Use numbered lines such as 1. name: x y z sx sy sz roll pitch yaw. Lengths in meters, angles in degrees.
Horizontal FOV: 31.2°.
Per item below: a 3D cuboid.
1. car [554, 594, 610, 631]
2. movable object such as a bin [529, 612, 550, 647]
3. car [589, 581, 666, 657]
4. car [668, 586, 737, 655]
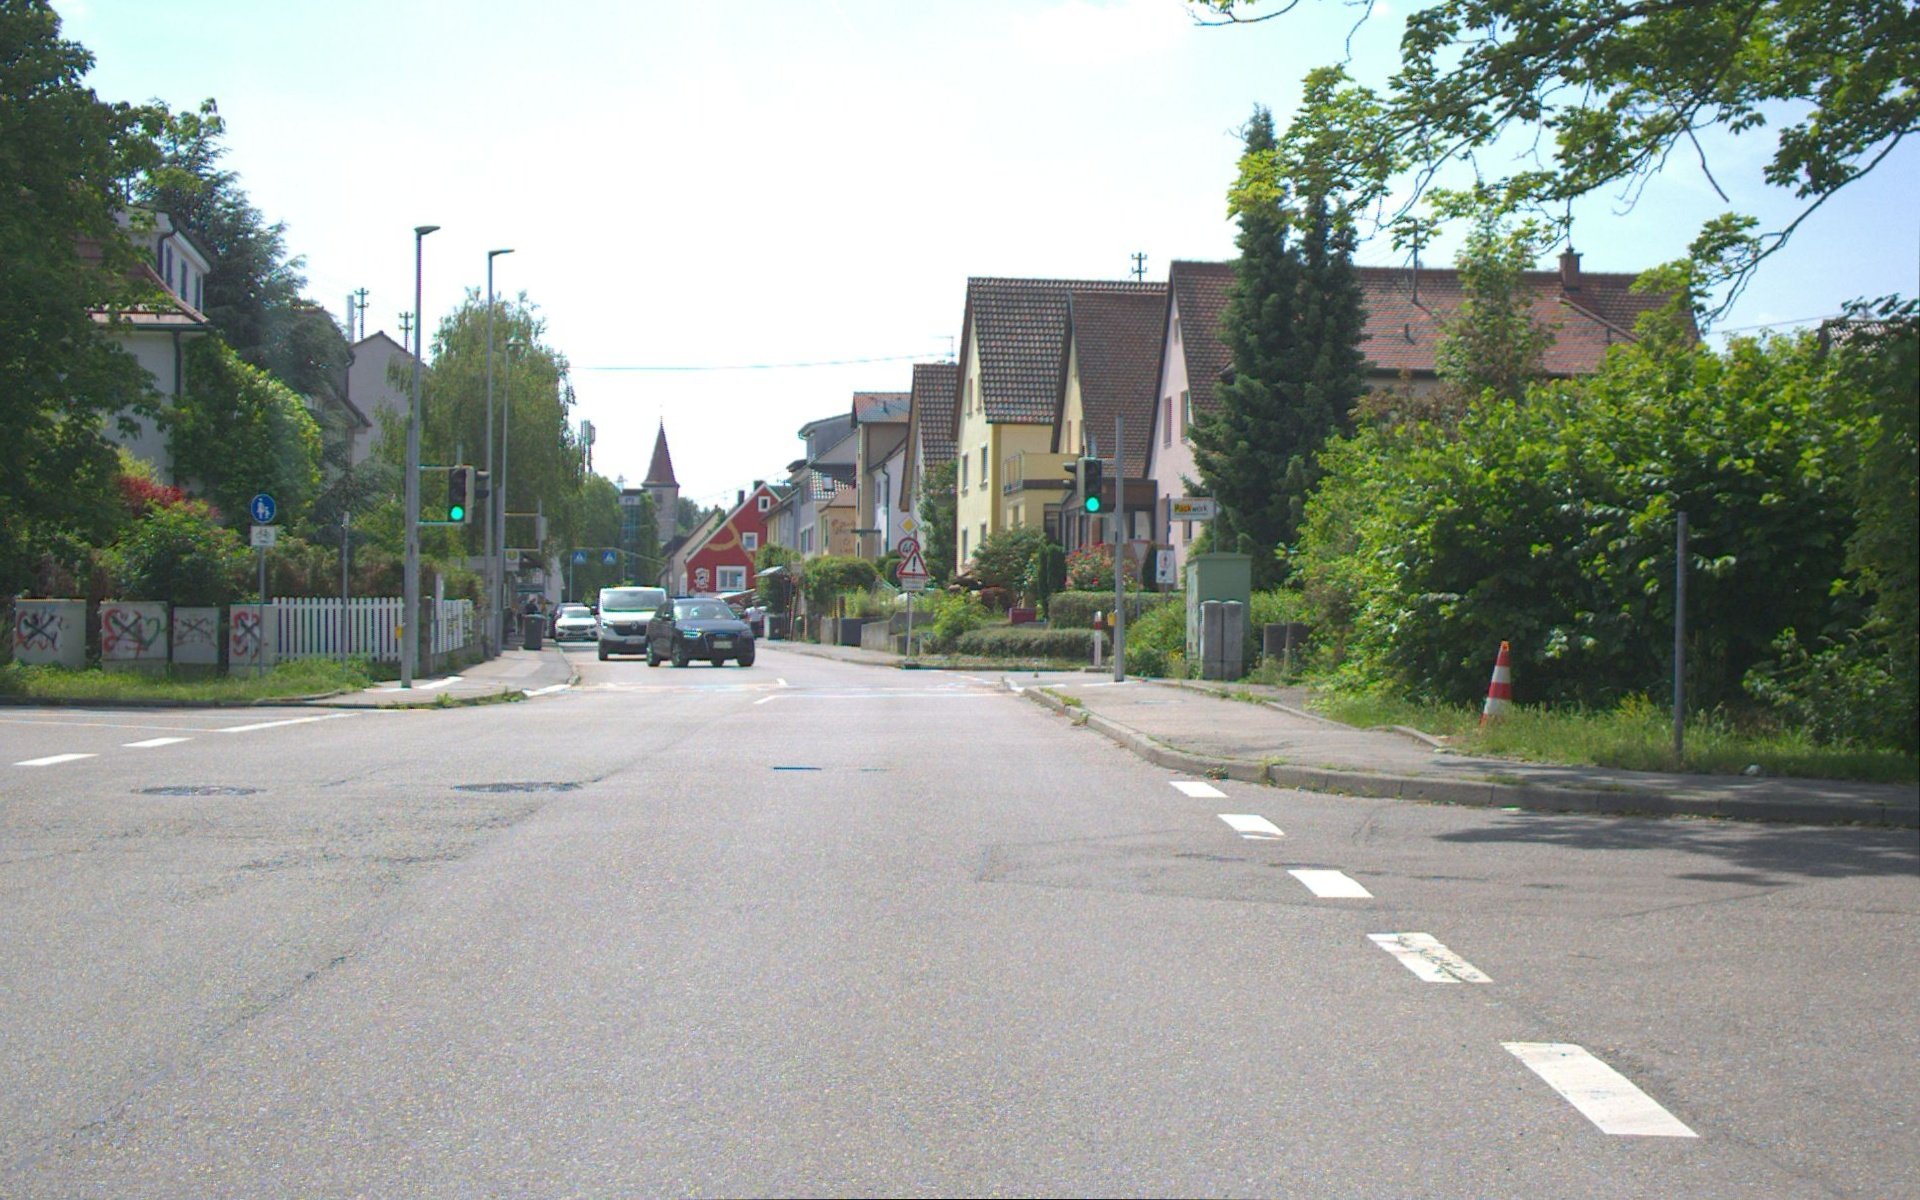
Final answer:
1. car: -16.176 0.542 147.370 2.110 1.555 4.314 0 0 -2
2. movable object such as a bin: -12.941 0.904 105.768 0.607 1.042 0.725 1 1 -7
3. car: -8.993 0.532 92.770 1.879 1.958 4.903 -1 -1 -7
4. car: -5.993 0.451 80.037 1.534 1.536 4.305 0 1 -4
